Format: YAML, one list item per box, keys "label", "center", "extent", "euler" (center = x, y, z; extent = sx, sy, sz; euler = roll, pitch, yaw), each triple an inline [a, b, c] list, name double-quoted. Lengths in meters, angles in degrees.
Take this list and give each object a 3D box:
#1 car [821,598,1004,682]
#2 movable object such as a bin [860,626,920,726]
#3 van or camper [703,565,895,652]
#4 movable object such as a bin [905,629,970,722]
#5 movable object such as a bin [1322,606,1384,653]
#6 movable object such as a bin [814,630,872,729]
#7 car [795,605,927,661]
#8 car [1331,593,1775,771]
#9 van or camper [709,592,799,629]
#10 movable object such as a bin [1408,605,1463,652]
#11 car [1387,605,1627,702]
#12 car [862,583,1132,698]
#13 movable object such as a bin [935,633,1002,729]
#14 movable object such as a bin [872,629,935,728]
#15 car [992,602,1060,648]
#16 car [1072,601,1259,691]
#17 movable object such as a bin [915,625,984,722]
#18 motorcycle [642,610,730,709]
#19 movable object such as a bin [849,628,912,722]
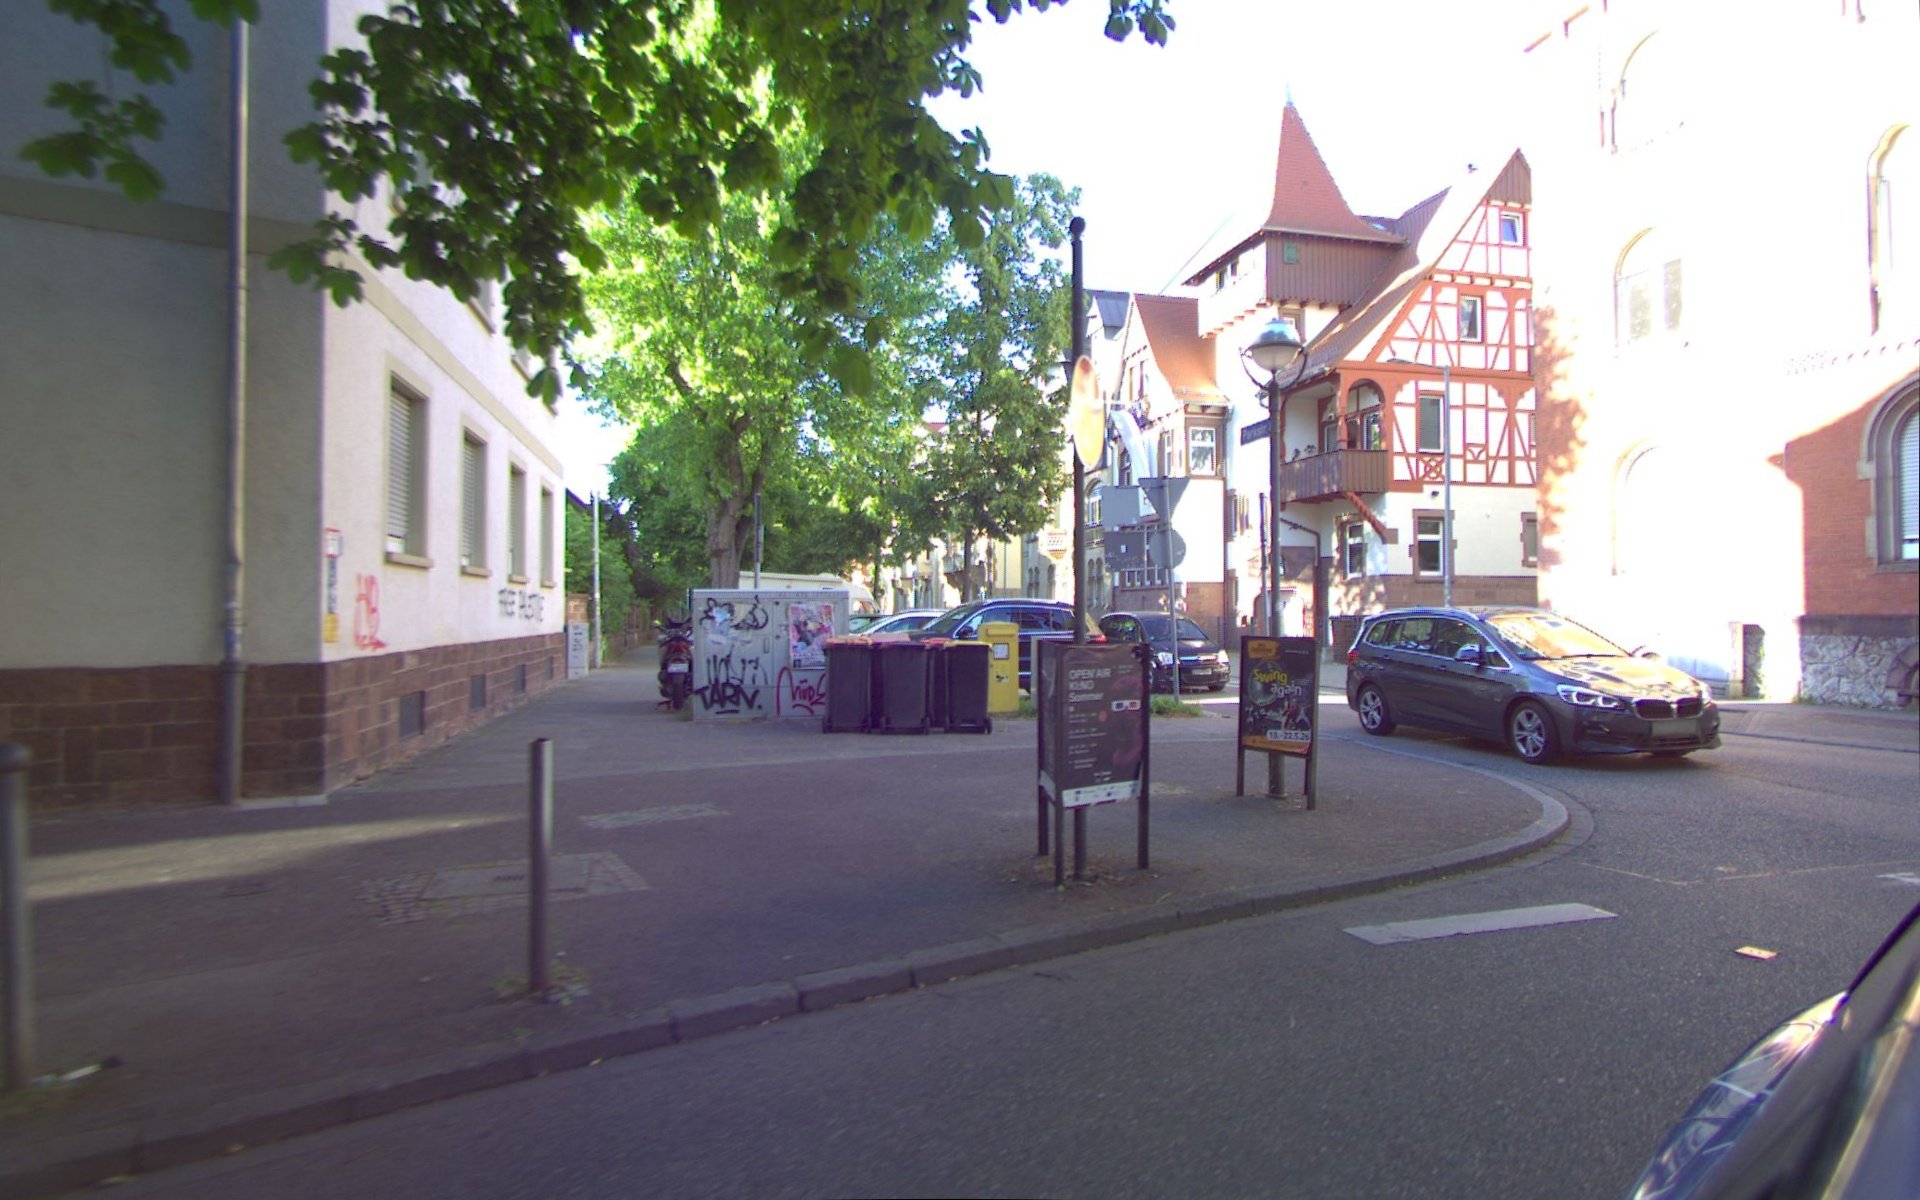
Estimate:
- label: "car"
  center: [-1.050, 0.800, 21.233]
  extent: [3.628, 1.672, 1.706]
  euler: [0, -1, -10]
- label: "movable object such as a bin"
  center: [-0.869, 0.912, 12.424]
  extent: [0.620, 1.167, 0.703]
  euler: [0, -1, -13]
- label: "van or camper"
  center: [-6.152, 0.335, 38.485]
  extent: [6.950, 3.117, 2.469]
  euler: [0, -1, -16]
- label: "movable object such as a bin"
  center: [-0.304, 0.979, 13.419]
  extent: [0.724, 1.167, 0.717]
  euler: [0, -1, -13]
- label: "movable object such as a bin"
  center: [11.408, 0.848, 29.404]
  extent: [1.353, 1.315, 0.969]
  euler: [-1, -1, -4]
- label: "movable object such as a bin"
  center: [-1.367, 0.903, 11.794]
  extent: [0.580, 1.097, 0.675]
  euler: [0, -1, -15]
- label: "car"
  center: [-2.861, 0.943, 28.992]
  extent: [3.525, 1.525, 1.680]
  euler: [1, -2, -13]
- label: "car"
  center: [6.371, 0.772, 11.648]
  extent: [1.886, 1.627, 4.524]
  euler: [0, -1, -11]
- label: "van or camper"
  center: [-16.781, 0.798, 82.359]
  extent: [7.119, 2.941, 2.433]
  euler: [0, 0, -14]
- label: "movable object such as a bin"
  center: [14.053, 0.824, 29.924]
  extent: [1.355, 1.334, 0.688]
  euler: [0, -1, -21]
- label: "car"
  center: [9.779, 0.890, 18.457]
  extent: [1.675, 1.504, 3.804]
  euler: [-2, 0, -14]
- label: "car"
  center: [0.578, 0.670, 16.866]
  extent: [4.032, 1.735, 2.028]
  euler: [1, -2, -18]
- label: "movable object such as a bin"
  center: [0.090, 0.932, 11.930]
  extent: [0.645, 1.078, 0.696]
  euler: [0, -1, -13]
- label: "movable object such as a bin"
  center: [-0.661, 0.883, 11.712]
  extent: [0.617, 1.089, 0.707]
  euler: [0, -1, -13]
- label: "car"
  center: [2.938, 1.091, 46.032]
  extent: [1.766, 1.931, 4.332]
  euler: [-2, 0, -14]
- label: "car"
  center: [4.156, 0.904, 21.264]
  extent: [1.958, 1.613, 4.270]
  euler: [-2, -1, -18]
- label: "movable object such as a bin"
  center: [-0.146, 0.899, 12.654]
  extent: [0.724, 1.167, 0.703]
  euler: [0, -1, -13]
- label: "motorcycle"
  center: [-3.953, 0.790, 14.465]
  extent: [0.958, 1.296, 2.186]
  euler: [1, -1, -22]
- label: "movable object such as a bin"
  center: [-1.041, 0.955, 13.165]
  extent: [0.724, 1.167, 0.703]
  euler: [0, -1, -13]
